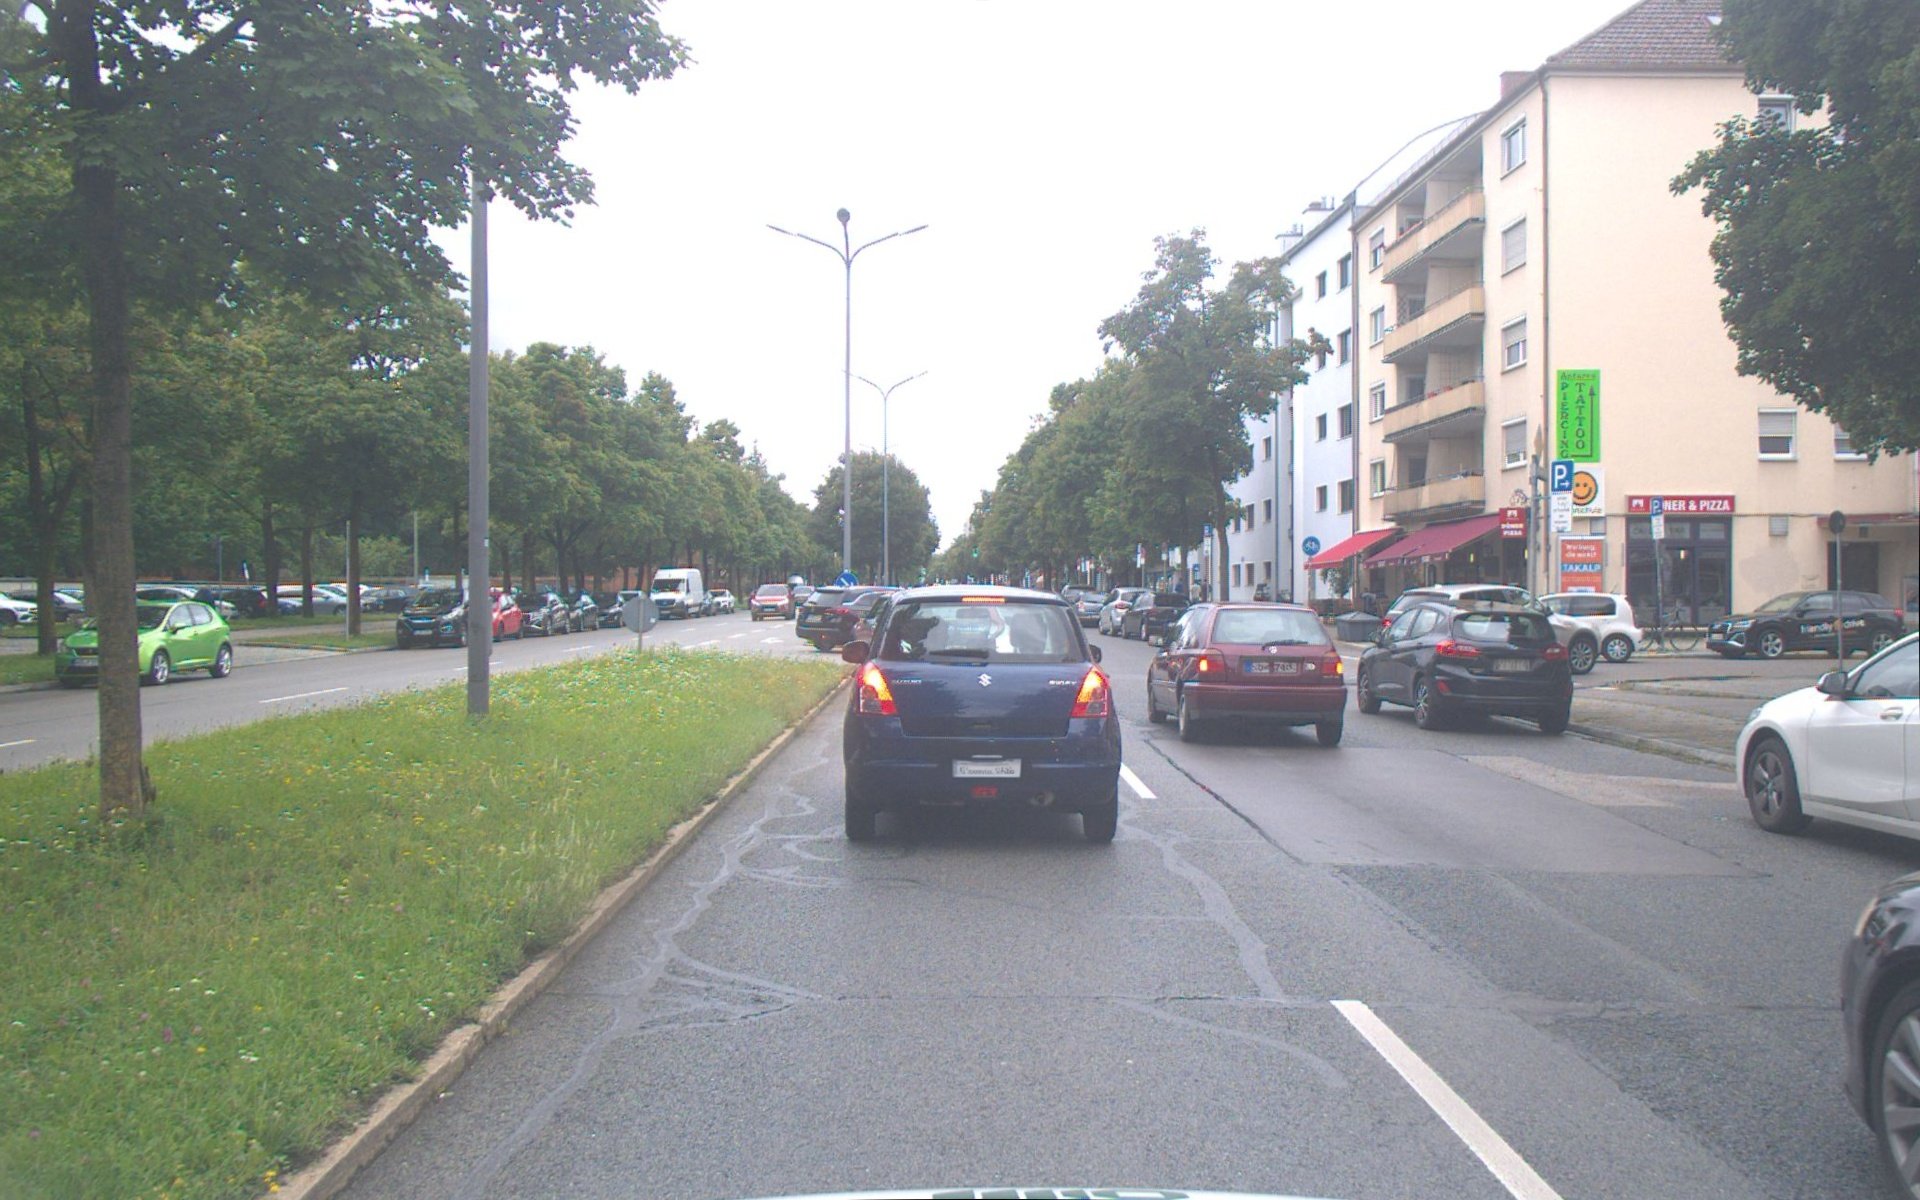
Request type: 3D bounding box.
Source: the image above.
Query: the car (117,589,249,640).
[{"bbox_3d":[-27.524,0.515,58.663,3.843,1.748,1.670,1,0,-6],"label":"car"}]

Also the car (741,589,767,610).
[{"bbox_3d":[-15.770,-0.046,126.767,1.599,1.610,3.878,1,0,-1],"label":"car"}]

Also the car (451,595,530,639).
[{"bbox_3d":[-14.733,0.514,52.044,1.558,1.335,3.380,1,0,-1],"label":"car"}]

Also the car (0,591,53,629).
[{"bbox_3d":[-39.481,0.365,67.063,4.414,1.502,1.672,1,0,0],"label":"car"}]

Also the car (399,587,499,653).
[{"bbox_3d":[-14.366,0.534,46.700,1.682,1.771,3.878,1,0,-1],"label":"car"}]

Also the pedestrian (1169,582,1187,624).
[{"bbox_3d":[10.826,0.135,82.189,0.778,2.049,1.006,0,0,0],"label":"pedestrian"}]

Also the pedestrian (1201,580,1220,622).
[{"bbox_3d":[12.479,0.052,82.357,0.778,2.049,1.006,0,0,0],"label":"pedestrian"}]

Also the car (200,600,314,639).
[{"bbox_3d":[-27.960,0.768,65.852,3.792,1.471,1.670,1,0,-6],"label":"car"}]

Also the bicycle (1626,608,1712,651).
[{"bbox_3d":[16.794,0.691,39.212,1.810,0.974,0.557,1,0,-2],"label":"bicycle"}]

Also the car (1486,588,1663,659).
[{"bbox_3d":[13.204,0.483,35.634,3.475,1.442,1.872,0,1,21],"label":"car"}]

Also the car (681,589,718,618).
[{"bbox_3d":[-15.116,0.175,96.126,1.599,1.610,3.878,1,0,-1],"label":"car"}]

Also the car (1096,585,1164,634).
[{"bbox_3d":[5.699,0.290,55.760,1.755,1.585,4.223,-1,1,-1],"label":"car"}]

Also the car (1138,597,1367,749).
[{"bbox_3d":[3.018,0.694,17.818,1.648,1.408,3.918,1,0,-2],"label":"car"}]

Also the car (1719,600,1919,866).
[{"bbox_3d":[6.290,0.797,9.709,1.648,1.491,4.136,2,0,-1],"label":"car"}]

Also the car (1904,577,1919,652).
[{"bbox_3d":[23.876,0.302,37.180,4.306,1.690,1.870,-1,0,-4],"label":"car"}]

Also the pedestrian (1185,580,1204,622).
[{"bbox_3d":[11.636,0.041,82.128,0.778,2.049,1.006,0,0,0],"label":"pedestrian"}]

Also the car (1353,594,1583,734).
[{"bbox_3d":[6.049,0.701,20.106,1.584,1.491,3.674,2,0,-1],"label":"car"}]

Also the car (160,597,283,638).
[{"bbox_3d":[-27.438,0.648,61.532,3.792,1.471,1.670,1,0,-6],"label":"car"}]

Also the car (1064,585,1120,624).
[{"bbox_3d":[5.432,0.149,68.648,1.828,1.544,4.223,-1,1,-2],"label":"car"}]

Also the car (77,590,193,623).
[{"bbox_3d":[-38.808,0.293,77.865,4.595,1.471,1.673,1,0,0],"label":"car"}]

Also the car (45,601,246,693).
[{"bbox_3d":[-14.389,0.784,29.459,1.515,1.434,3.880,-2,1,2],"label":"car"}]

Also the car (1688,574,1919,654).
[{"bbox_3d":[18.905,0.292,37.164,4.307,1.690,1.870,-1,0,-5],"label":"car"}]

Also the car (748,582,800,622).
[{"bbox_3d":[-8.656,0.083,77.126,1.865,1.726,4.245,-2,0,0],"label":"car"}]

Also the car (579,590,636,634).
[{"bbox_3d":[-14.632,0.489,68.737,1.599,1.771,3.878,1,0,-1],"label":"car"}]

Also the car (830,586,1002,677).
[{"bbox_3d":[-0.847,0.509,29.329,1.662,1.488,3.702,0,1,-26],"label":"car"}]

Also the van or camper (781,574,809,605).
[{"bbox_3d":[-18.433,-1.152,184.949,2.509,3.353,6.935,1,0,-1],"label":"van or camper"}]

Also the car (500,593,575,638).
[{"bbox_3d":[-14.496,0.504,56.904,1.633,1.471,3.878,1,0,-1],"label":"car"}]

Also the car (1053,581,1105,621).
[{"bbox_3d":[5.251,0.002,73.376,1.828,1.712,4.223,-1,1,-2],"label":"car"}]

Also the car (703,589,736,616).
[{"bbox_3d":[-15.043,0.150,103.557,1.599,1.610,3.878,1,0,-1],"label":"car"}]

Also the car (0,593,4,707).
[{"bbox_3d":[-14.301,0.739,21.127,1.656,1.614,4.370,-2,1,-1],"label":"car"}]

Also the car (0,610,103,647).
[{"bbox_3d":[-39.546,1.219,71.042,4.595,1.471,1.673,1,0,0],"label":"car"}]

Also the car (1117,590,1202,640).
[{"bbox_3d":[6.053,0.422,50.614,1.828,1.442,4.221,-1,1,-4],"label":"car"}]

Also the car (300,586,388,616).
[{"bbox_3d":[-30.967,0.040,83.185,3.792,1.471,1.670,1,0,-6],"label":"car"}]

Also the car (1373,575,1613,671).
[{"bbox_3d":[9.996,0.422,30.960,4.346,1.690,1.853,1,1,-30],"label":"car"}]

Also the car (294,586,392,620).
[{"bbox_3d":[-27.708,0.138,74.353,3.792,1.471,1.670,1,0,-6],"label":"car"}]

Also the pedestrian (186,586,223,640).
[{"bbox_3d":[-22.150,0.376,48.501,0.712,1.561,0.721,1,0,0],"label":"pedestrian"}]

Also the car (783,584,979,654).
[{"bbox_3d":[-1.771,0.400,37.401,4.077,1.494,1.822,-1,1,-29],"label":"car"}]

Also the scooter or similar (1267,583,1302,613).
[{"bbox_3d":[14.353,-0.104,73.165,1.011,1.330,2.755,0,0,0],"label":"scooter or similar"}]

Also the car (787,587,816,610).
[{"bbox_3d":[-11.839,-0.134,123.947,1.730,1.651,4.506,-2,0,-1],"label":"car"}]

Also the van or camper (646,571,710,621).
[{"bbox_3d":[-14.995,-0.230,88.249,2.073,2.525,7.449,1,0,0],"label":"van or camper"}]

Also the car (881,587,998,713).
[{"bbox_3d":[-0.286,0.598,21.583,1.415,1.509,3.105,0,1,-2],"label":"car"}]

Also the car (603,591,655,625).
[{"bbox_3d":[-14.778,0.327,74.070,1.599,1.456,3.878,1,0,-1],"label":"car"}]

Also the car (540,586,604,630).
[{"bbox_3d":[-14.606,0.275,62.360,1.558,1.585,3.878,1,0,-1],"label":"car"}]

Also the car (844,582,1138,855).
[{"bbox_3d":[0.124,0.648,11.277,1.648,1.528,3.918,0,1,-2],"label":"car"}]

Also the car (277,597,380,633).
[{"bbox_3d":[-27.140,0.649,71.187,3.792,1.471,1.670,1,0,-6],"label":"car"}]

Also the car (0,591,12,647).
[{"bbox_3d":[-27.083,0.463,43.446,4.325,1.471,1.956,1,0,31],"label":"car"}]

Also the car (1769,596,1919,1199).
[{"bbox_3d":[3.172,0.760,2.408,1.696,1.457,4.441,1,1,-2],"label":"car"}]

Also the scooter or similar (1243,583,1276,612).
[{"bbox_3d":[13.955,-0.125,77.116,1.011,1.330,2.755,0,0,0],"label":"scooter or similar"}]
